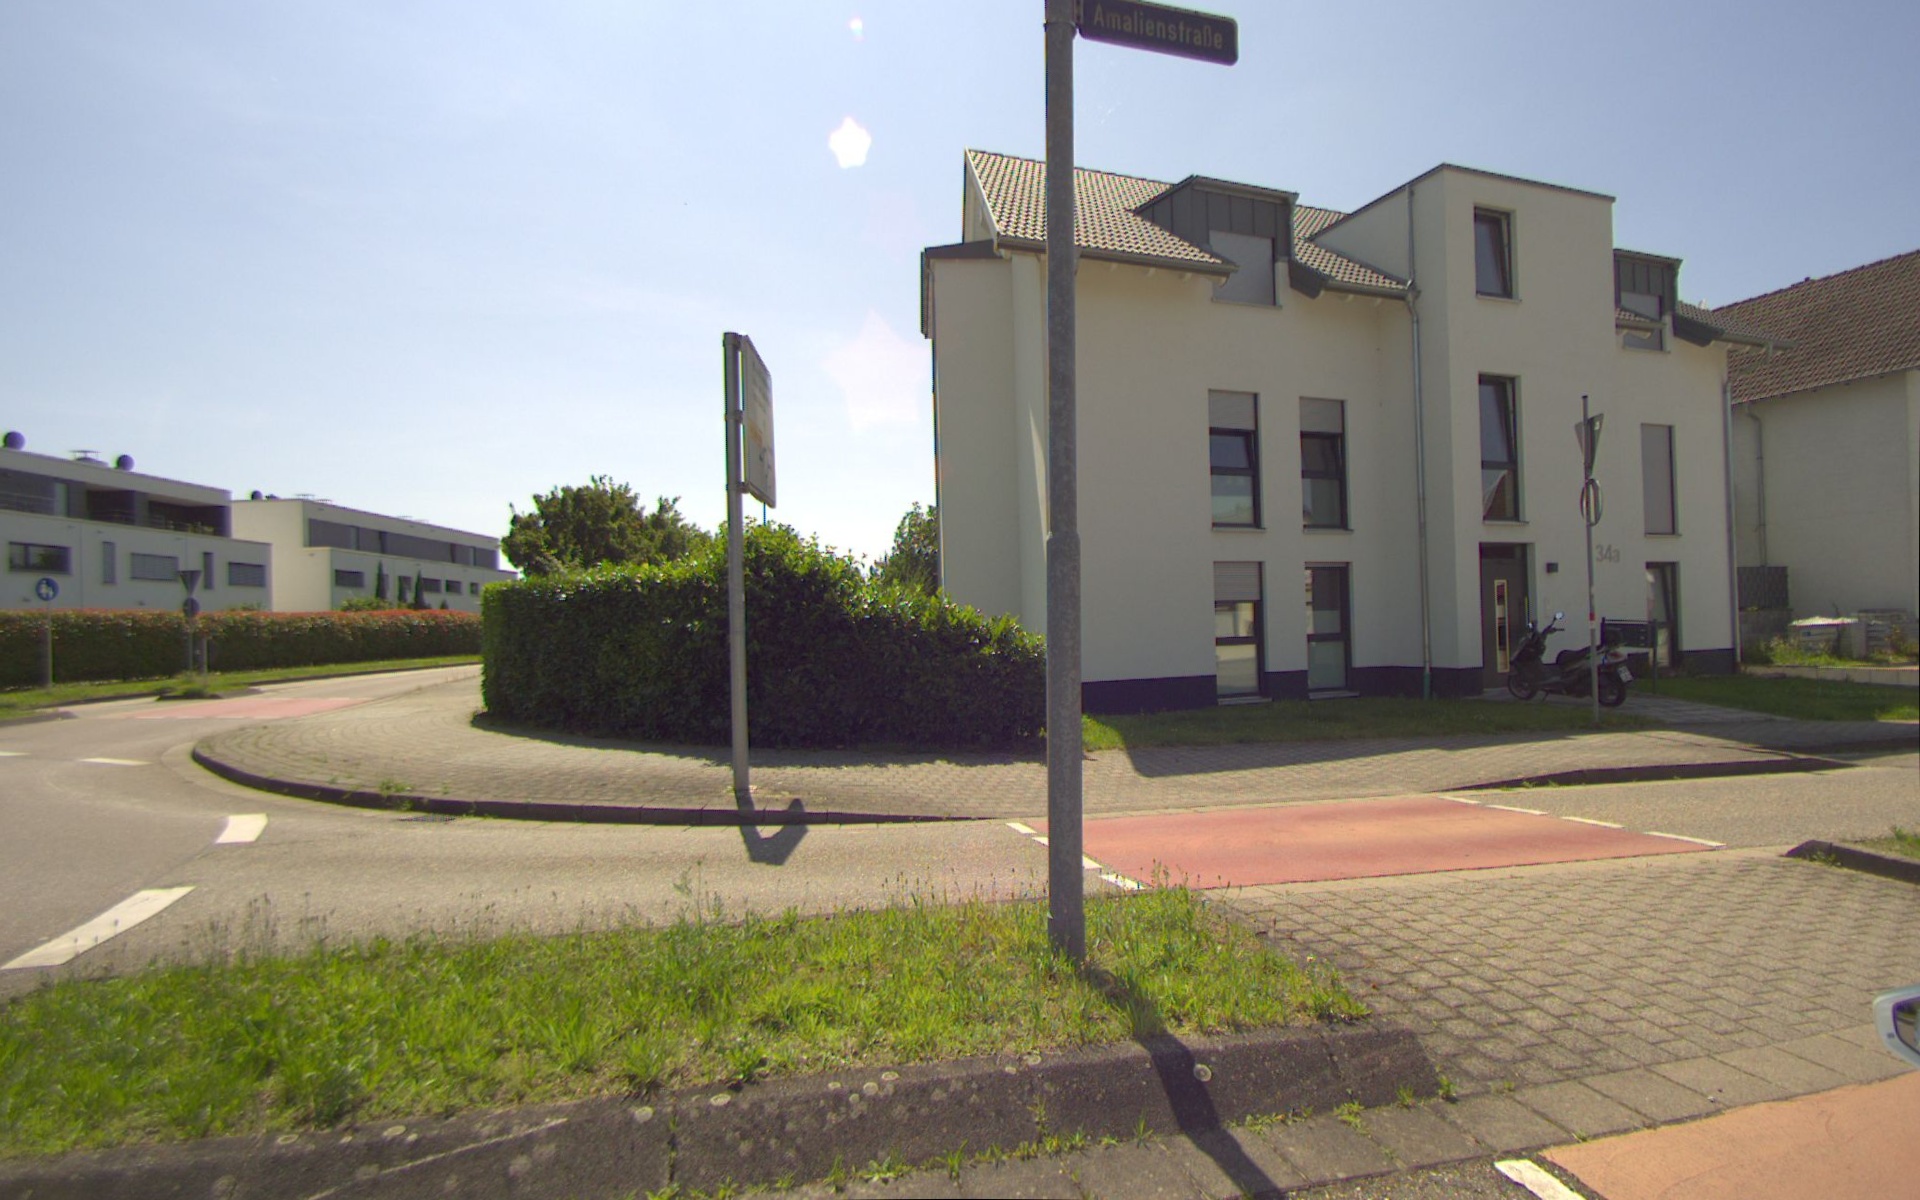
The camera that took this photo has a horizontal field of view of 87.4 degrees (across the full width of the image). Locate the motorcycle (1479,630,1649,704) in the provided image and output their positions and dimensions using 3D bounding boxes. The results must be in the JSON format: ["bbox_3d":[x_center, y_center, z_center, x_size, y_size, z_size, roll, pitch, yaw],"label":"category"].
[{"bbox_3d":[9.096,0.978,15.268,0.661,1.027,2.360,1,-2,-18],"label":"motorcycle"}]
